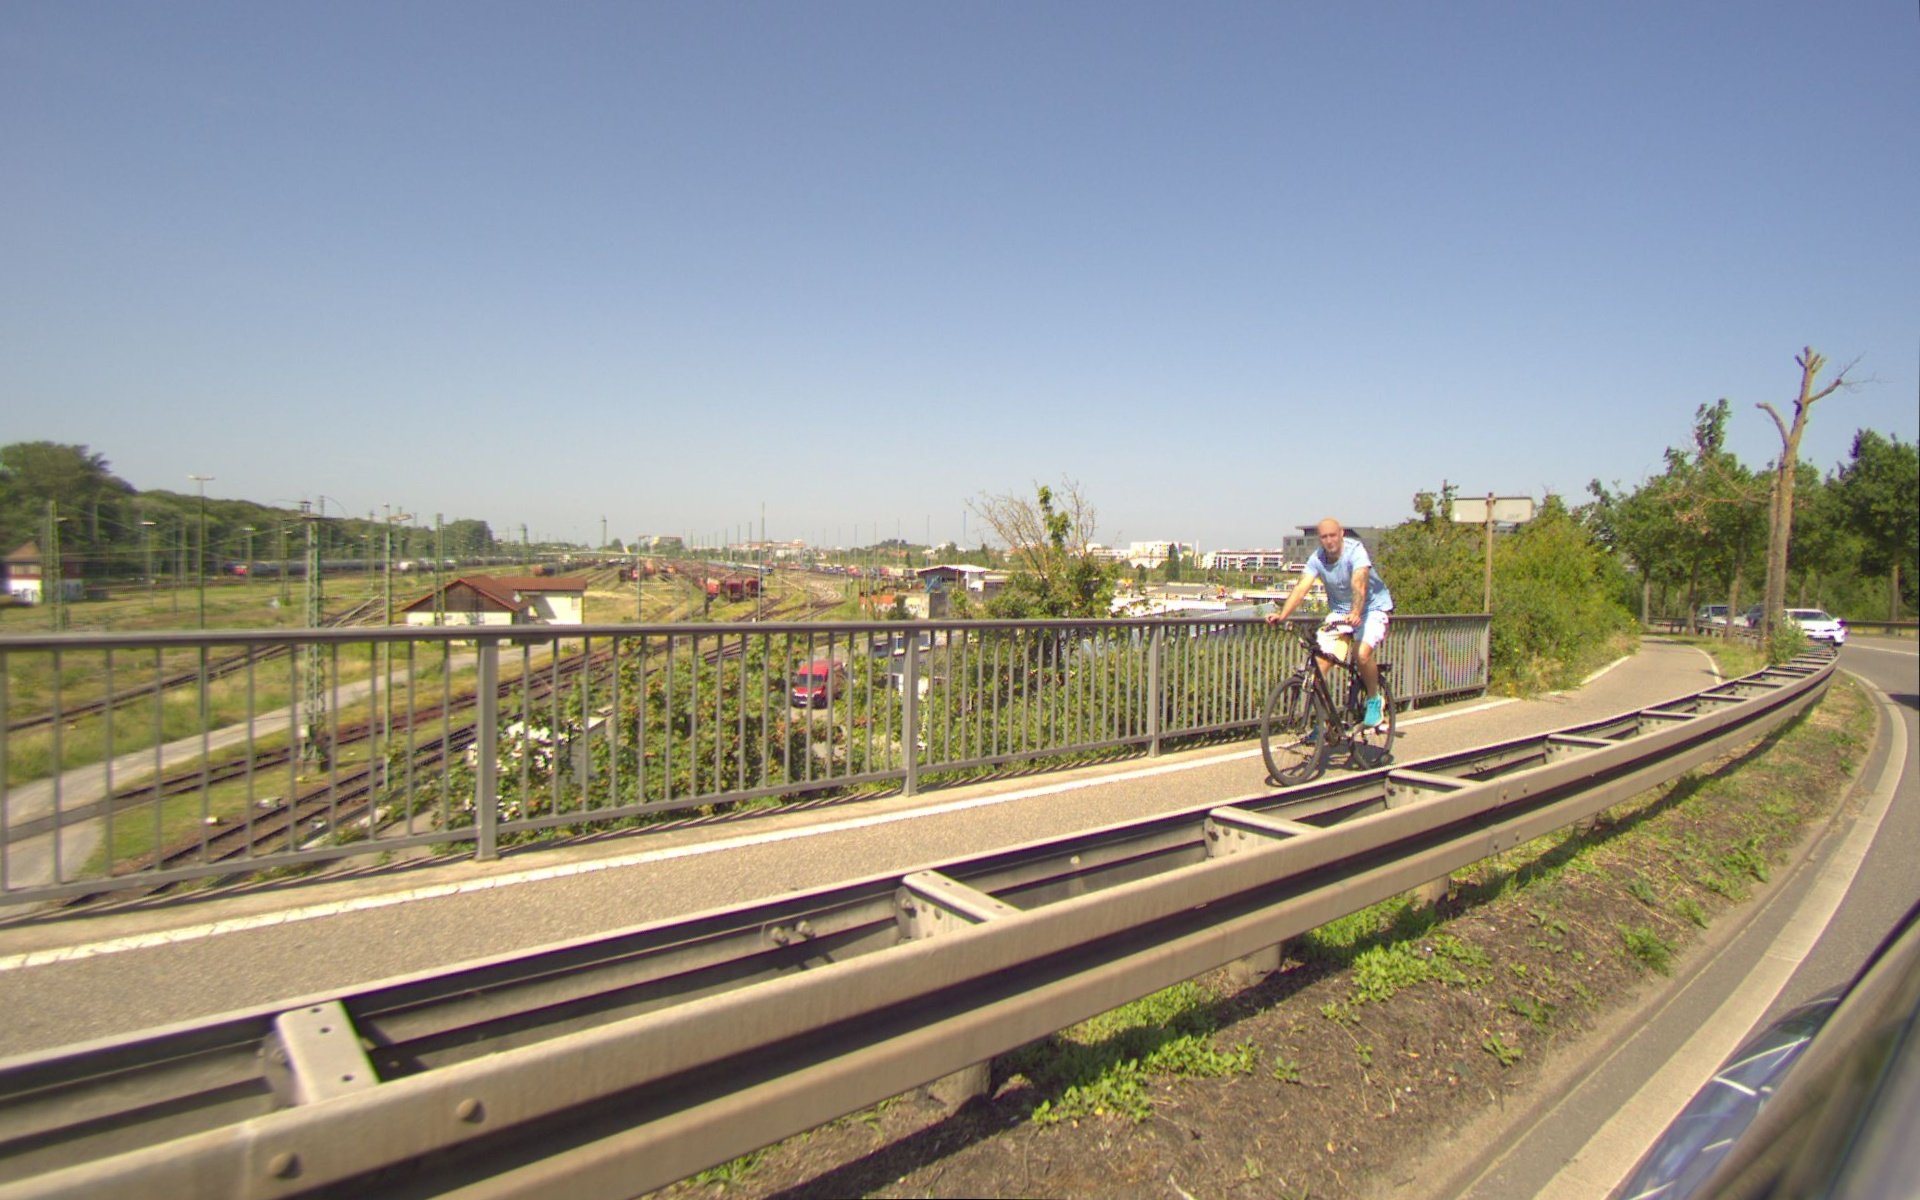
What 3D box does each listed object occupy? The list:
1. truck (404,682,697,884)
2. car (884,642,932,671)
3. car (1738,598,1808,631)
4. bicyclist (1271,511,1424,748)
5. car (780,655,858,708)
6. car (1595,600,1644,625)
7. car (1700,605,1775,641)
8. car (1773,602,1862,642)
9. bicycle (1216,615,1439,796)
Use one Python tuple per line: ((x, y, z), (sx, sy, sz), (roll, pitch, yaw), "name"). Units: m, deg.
((-13.374, 5.719, 35.343), (3.756, 4.079, 13.256), (3, 2, 5), "truck")
((-3.839, 4.191, 75.680), (1.977, 1.895, 3.968), (-5, -2, 23), "car")
((45.105, 0.790, 56.244), (1.914, 1.552, 4.089), (-1, 3, 22), "car")
((2.705, 0.168, 7.066), (0.790, 1.538, 0.659), (-1, 4, -45), "bicyclist")
((-8.747, 5.071, 63.495), (2.282, 2.696, 5.338), (-5, 0, 23), "car")
((48.265, 0.895, 74.128), (1.973, 1.790, 3.977), (-1, 0, 18), "car")
((39.791, 1.154, 51.902), (1.977, 1.605, 3.969), (-4, -2, 23), "car")
((34.685, 0.853, 41.052), (1.829, 1.507, 4.112), (0, 0, 27), "car")
((2.616, 0.663, 7.089), (1.815, 1.032, 0.703), (0, 4, -45), "bicycle")
